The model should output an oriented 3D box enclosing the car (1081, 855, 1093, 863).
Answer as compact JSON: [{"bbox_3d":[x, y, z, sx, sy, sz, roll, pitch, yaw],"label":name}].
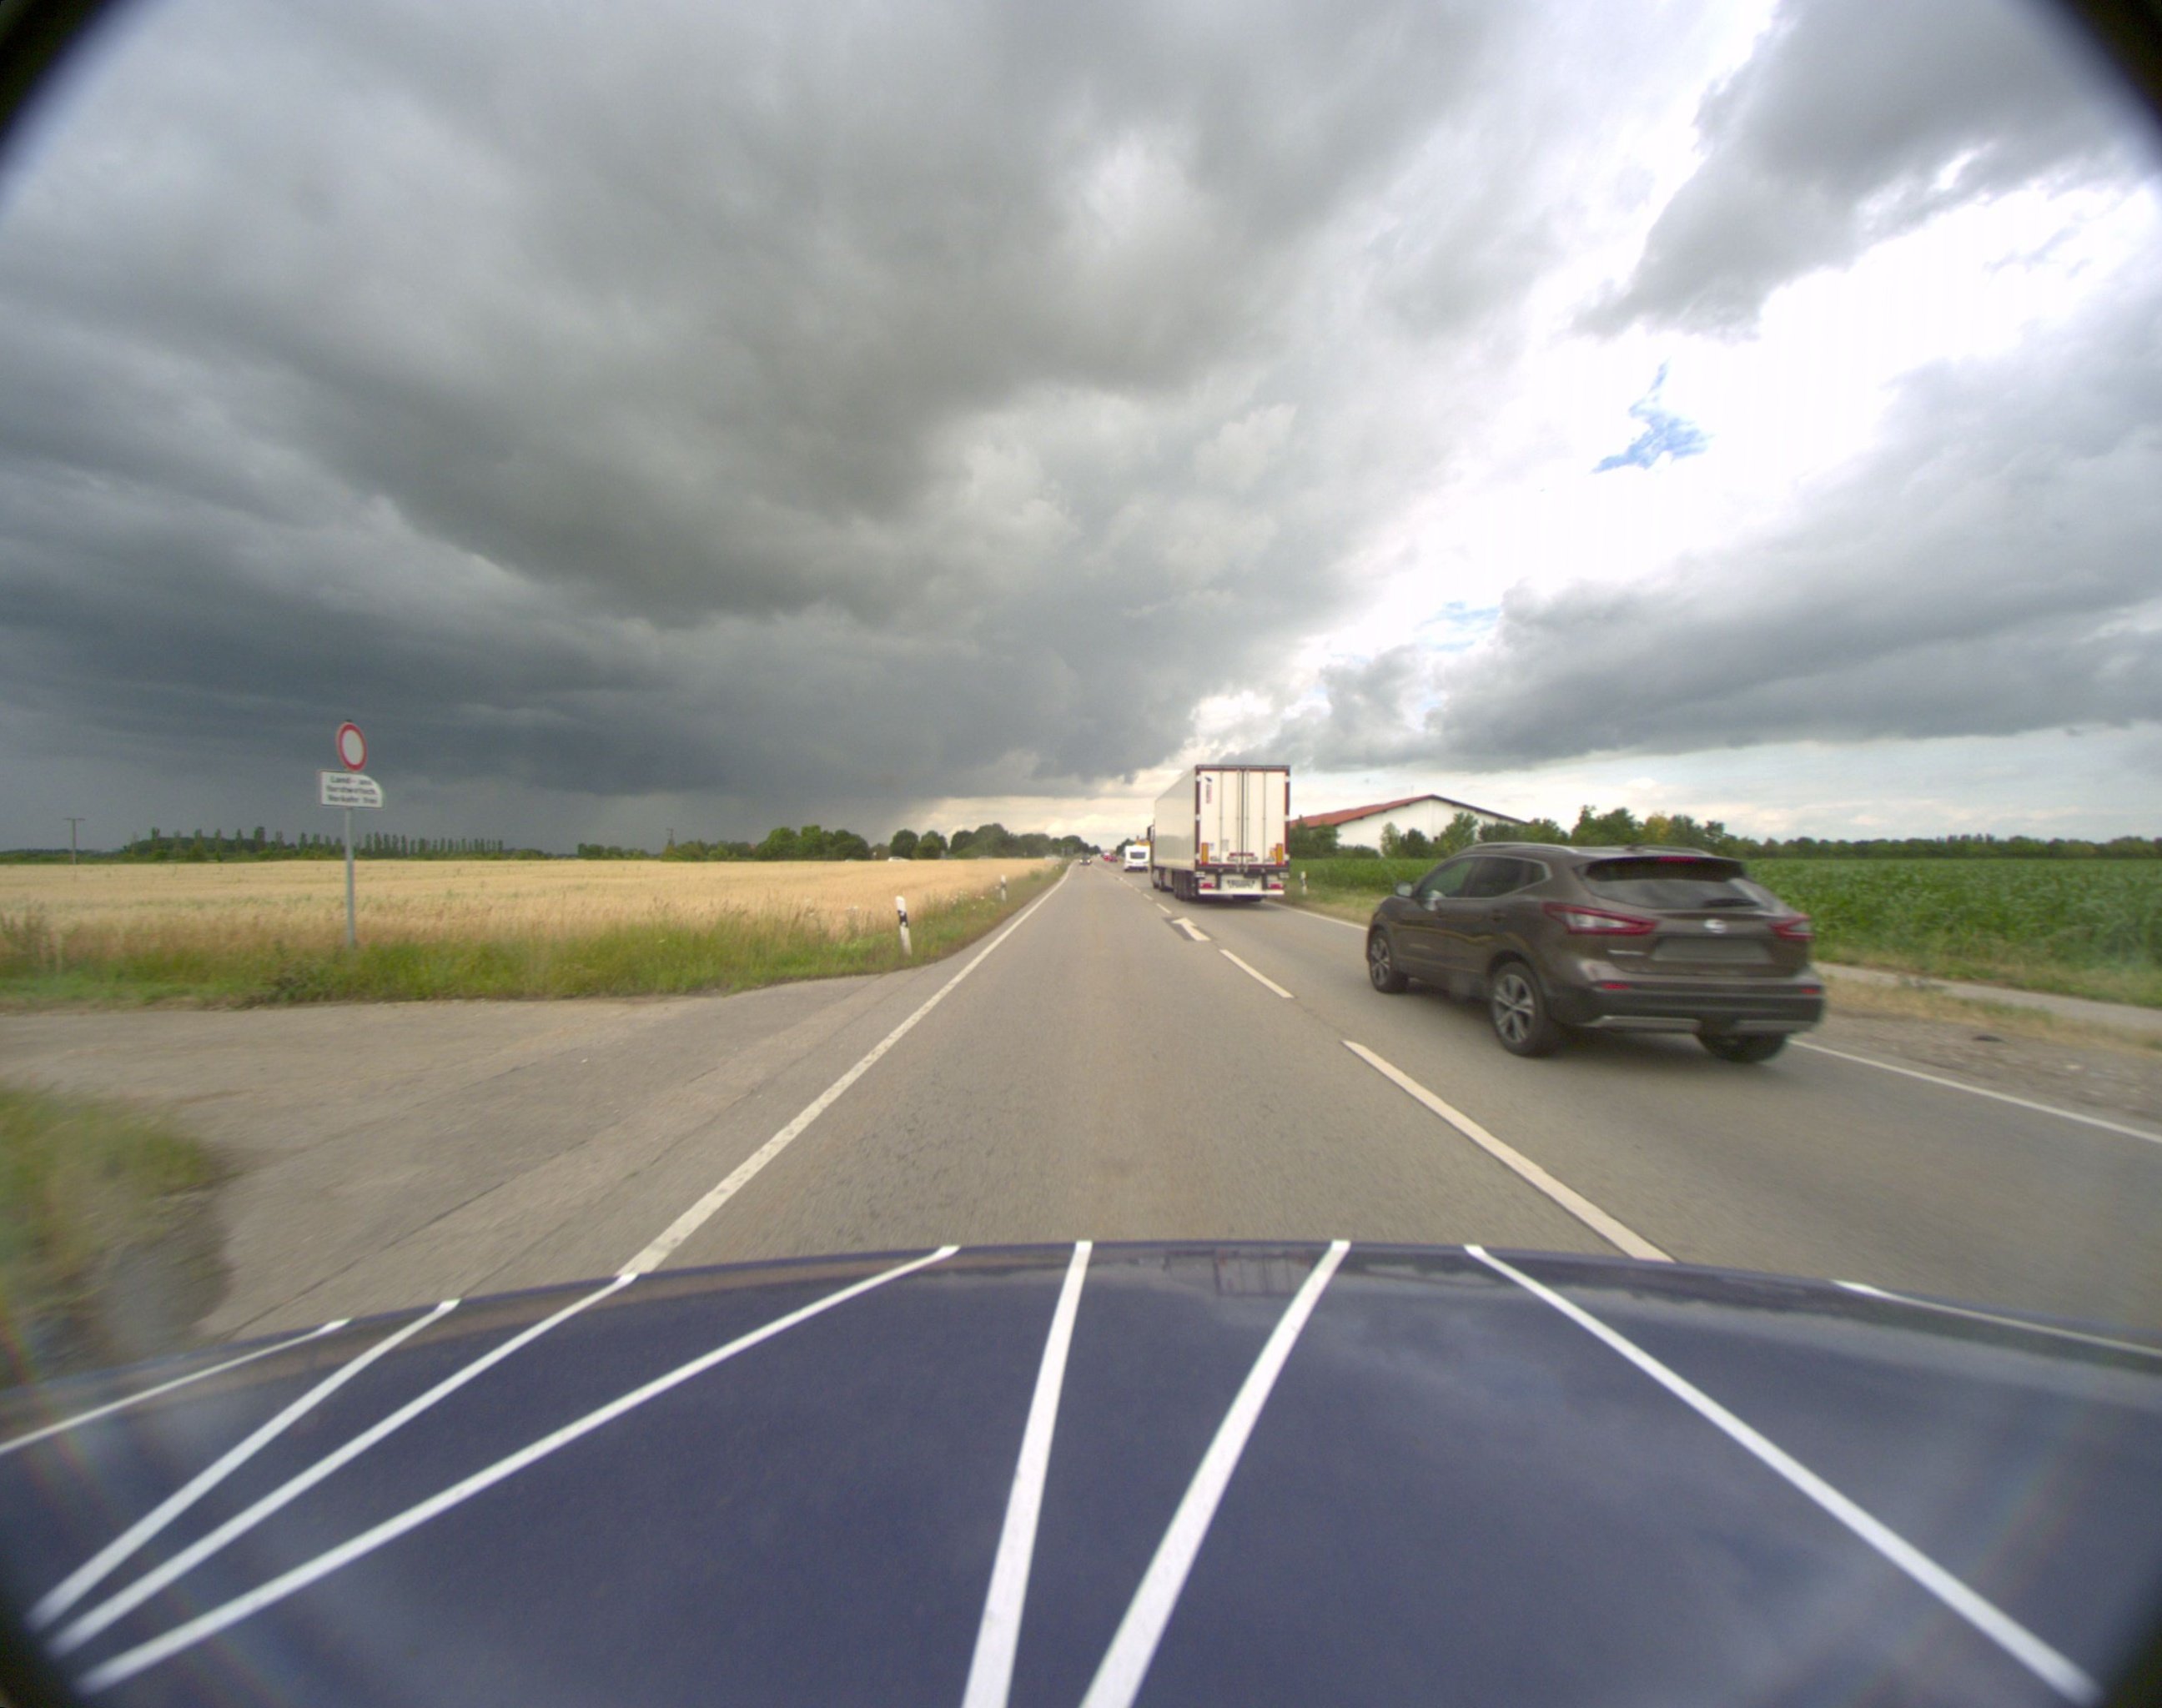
[{"bbox_3d":[1.021,0.906,129.942,1.869,1.352,3.826,0,1,0],"label":"car"}]

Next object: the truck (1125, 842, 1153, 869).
[{"bbox_3d":[5.894,0.107,78.540,2.419,2.643,11.431,0,0,2],"label":"truck"}]

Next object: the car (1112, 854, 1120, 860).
[{"bbox_3d":[8.144,0.807,178.395,1.869,1.352,3.826,0,1,1],"label":"car"}]

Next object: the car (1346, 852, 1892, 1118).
[{"bbox_3d":[4.017,0.787,6.826,1.733,1.577,4.504,1,0,1],"label":"car"}]

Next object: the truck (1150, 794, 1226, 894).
[{"bbox_3d":[4.634,-0.423,34.024,2.658,4.097,6.023,0,1,1],"label":"truck"}]

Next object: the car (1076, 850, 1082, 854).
[{"bbox_3d":[-0.666,-0.568,225.141,1.714,1.352,3.826,0,1,1],"label":"car"}]

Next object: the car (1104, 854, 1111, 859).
[{"bbox_3d":[7.379,0.648,209.094,1.869,1.352,3.826,0,1,1],"label":"car"}]

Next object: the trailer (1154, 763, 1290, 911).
[{"bbox_3d":[4.544,-0.525,27.862,2.641,4.097,13.766,0,0,1],"label":"trailer"}]

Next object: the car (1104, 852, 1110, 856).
[{"bbox_3d":[7.999,0.065,237.845,1.788,1.352,3.826,0,1,1],"label":"car"}]

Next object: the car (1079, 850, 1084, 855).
[{"bbox_3d":[0.224,-0.523,243.623,1.714,1.352,3.826,0,1,1],"label":"car"}]
